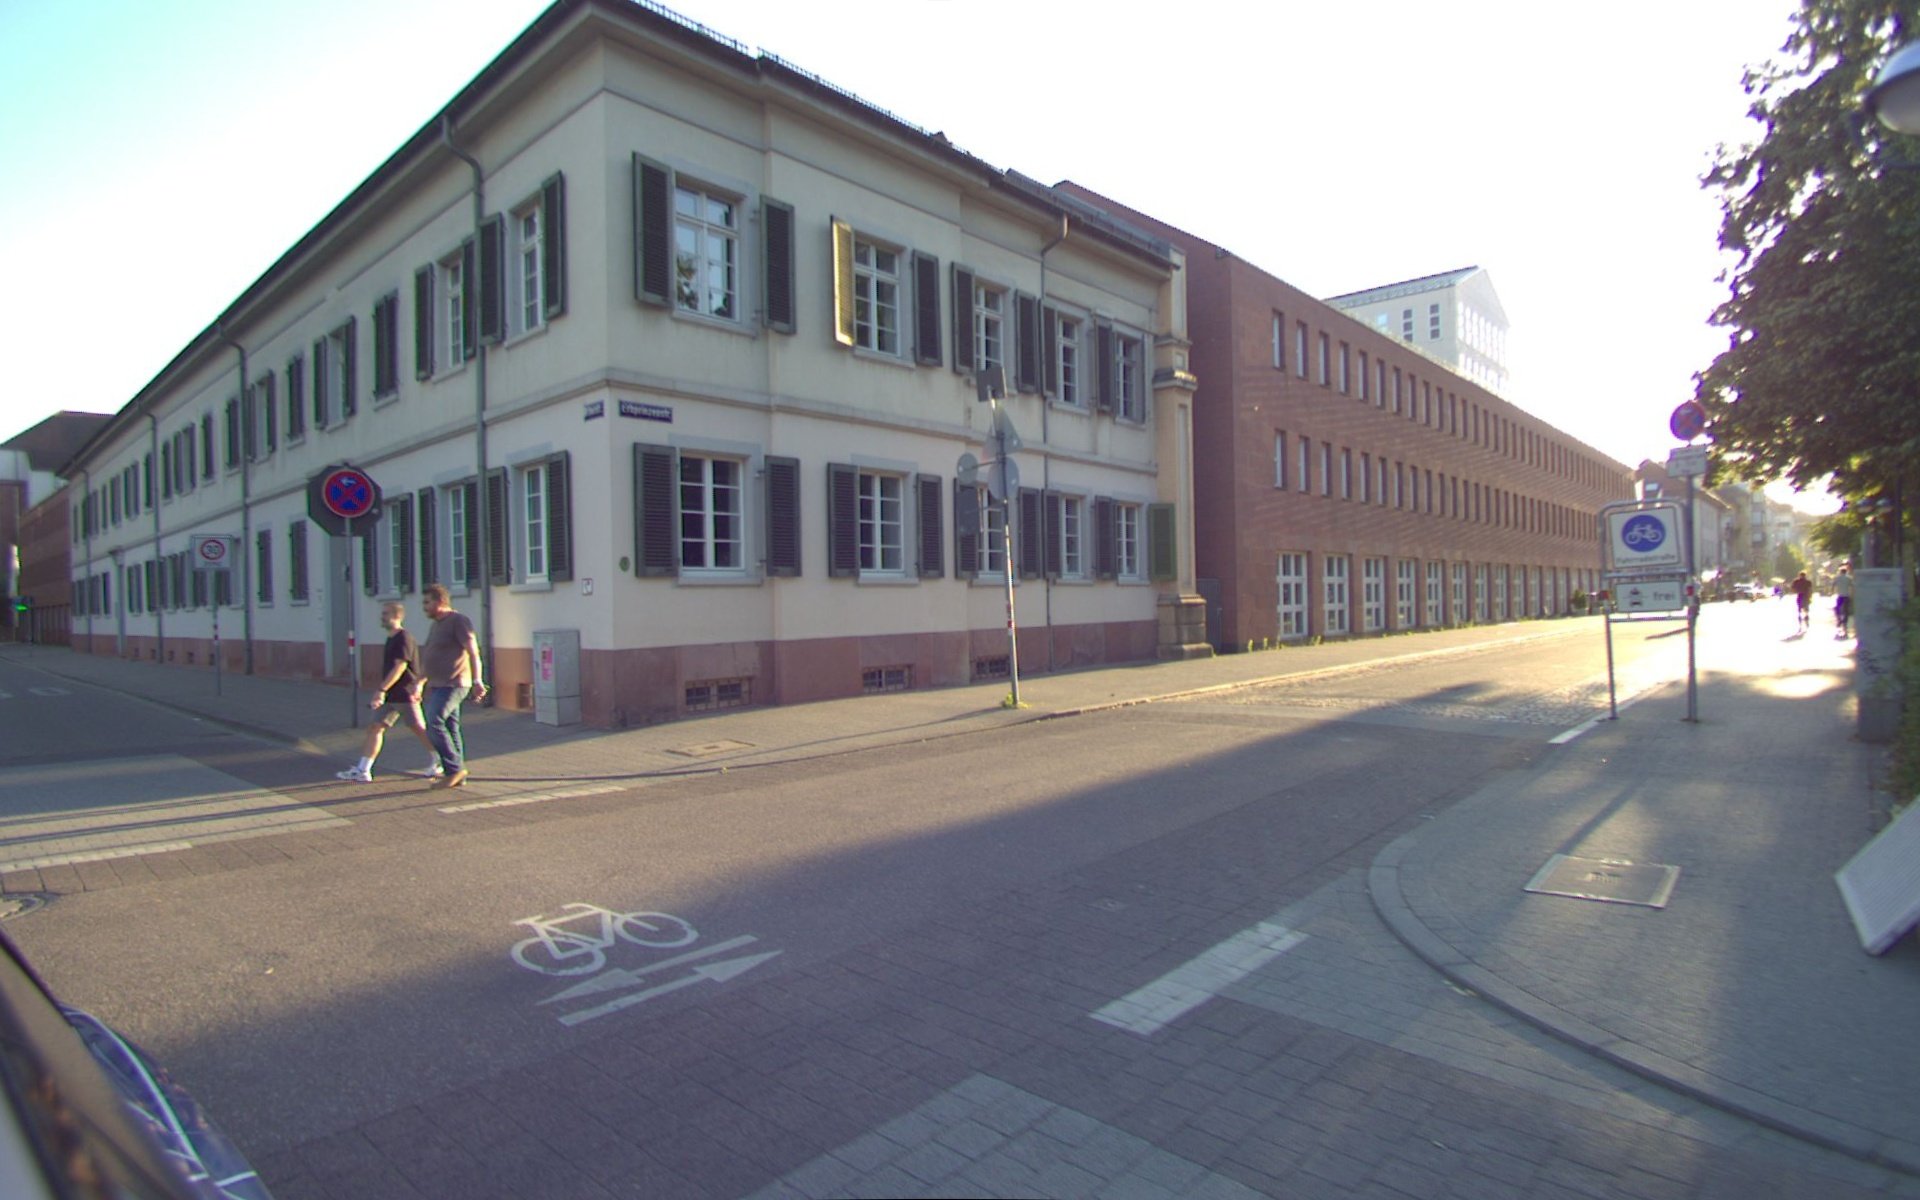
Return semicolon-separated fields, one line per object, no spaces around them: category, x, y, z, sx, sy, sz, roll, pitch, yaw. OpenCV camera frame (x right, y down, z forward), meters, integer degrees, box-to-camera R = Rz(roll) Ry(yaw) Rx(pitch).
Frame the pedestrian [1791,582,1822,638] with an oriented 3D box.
pedestrian;26.215;0.304;31.335;0.654;1.706;0.741;-2;-1;44

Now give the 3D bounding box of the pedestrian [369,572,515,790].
pedestrian;-4.582;0.675;8.971;0.761;1.801;0.929;-2;-1;41

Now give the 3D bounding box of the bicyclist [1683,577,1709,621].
bicyclist;26.154;-0.029;35.971;0.630;1.563;0.667;-2;-1;44

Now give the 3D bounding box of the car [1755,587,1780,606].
car;92.040;-0.404;115.331;2.000;2.029;3.944;-2;-1;42

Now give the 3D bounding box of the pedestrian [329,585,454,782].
pedestrian;-5.353;0.746;9.539;0.649;1.753;0.847;-2;-1;41

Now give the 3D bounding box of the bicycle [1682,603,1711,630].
bicycle;26.190;0.572;35.981;0.533;0.940;1.808;-2;-1;44

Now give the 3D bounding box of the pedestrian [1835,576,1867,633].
pedestrian;26.967;0.135;30.633;0.654;1.706;0.741;-2;-1;44
